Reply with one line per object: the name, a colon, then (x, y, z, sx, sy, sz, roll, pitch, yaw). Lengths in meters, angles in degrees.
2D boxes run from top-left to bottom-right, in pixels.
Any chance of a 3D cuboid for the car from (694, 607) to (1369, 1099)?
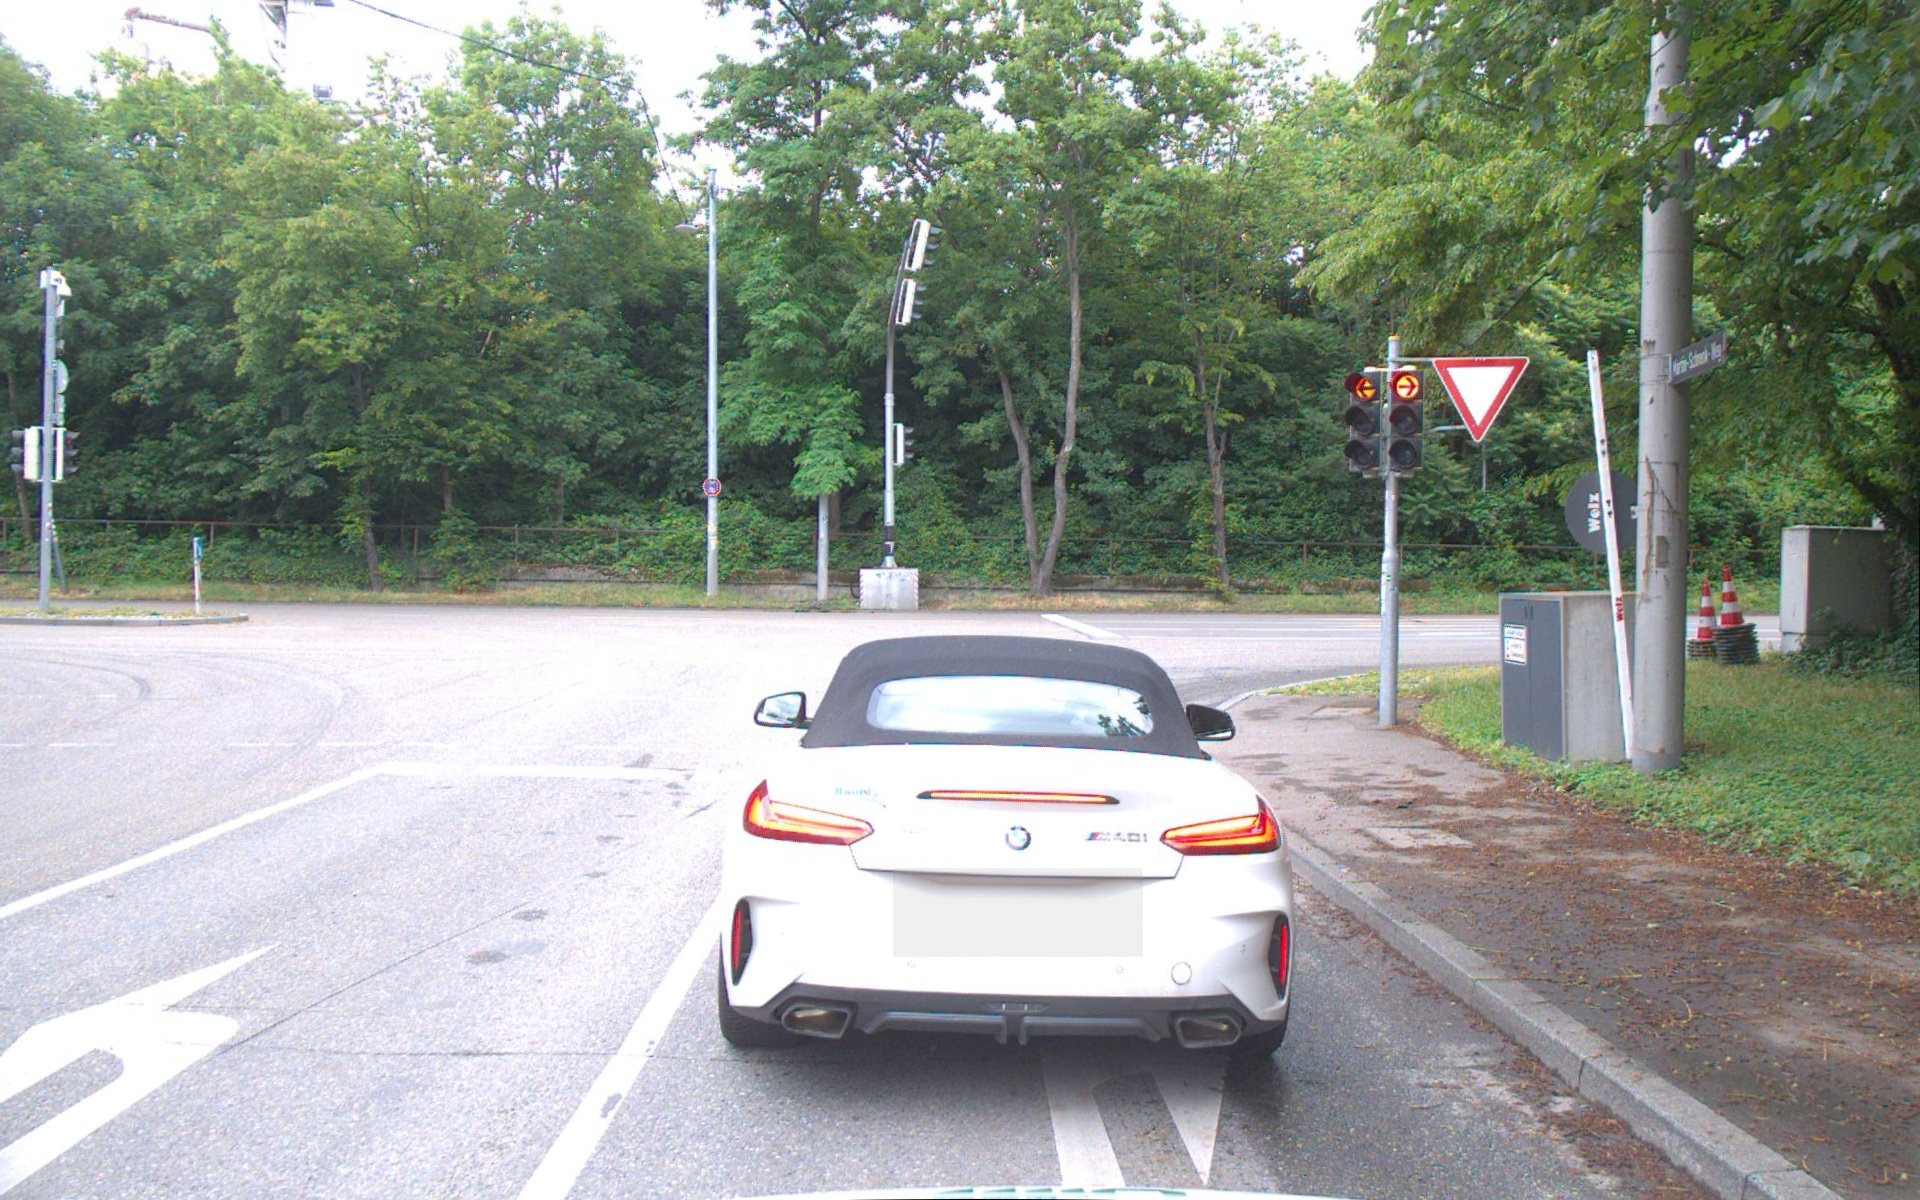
car: (0.109, 0.726, 6.448, 1.791, 1.279, 3.997, 2, -1, -3)
